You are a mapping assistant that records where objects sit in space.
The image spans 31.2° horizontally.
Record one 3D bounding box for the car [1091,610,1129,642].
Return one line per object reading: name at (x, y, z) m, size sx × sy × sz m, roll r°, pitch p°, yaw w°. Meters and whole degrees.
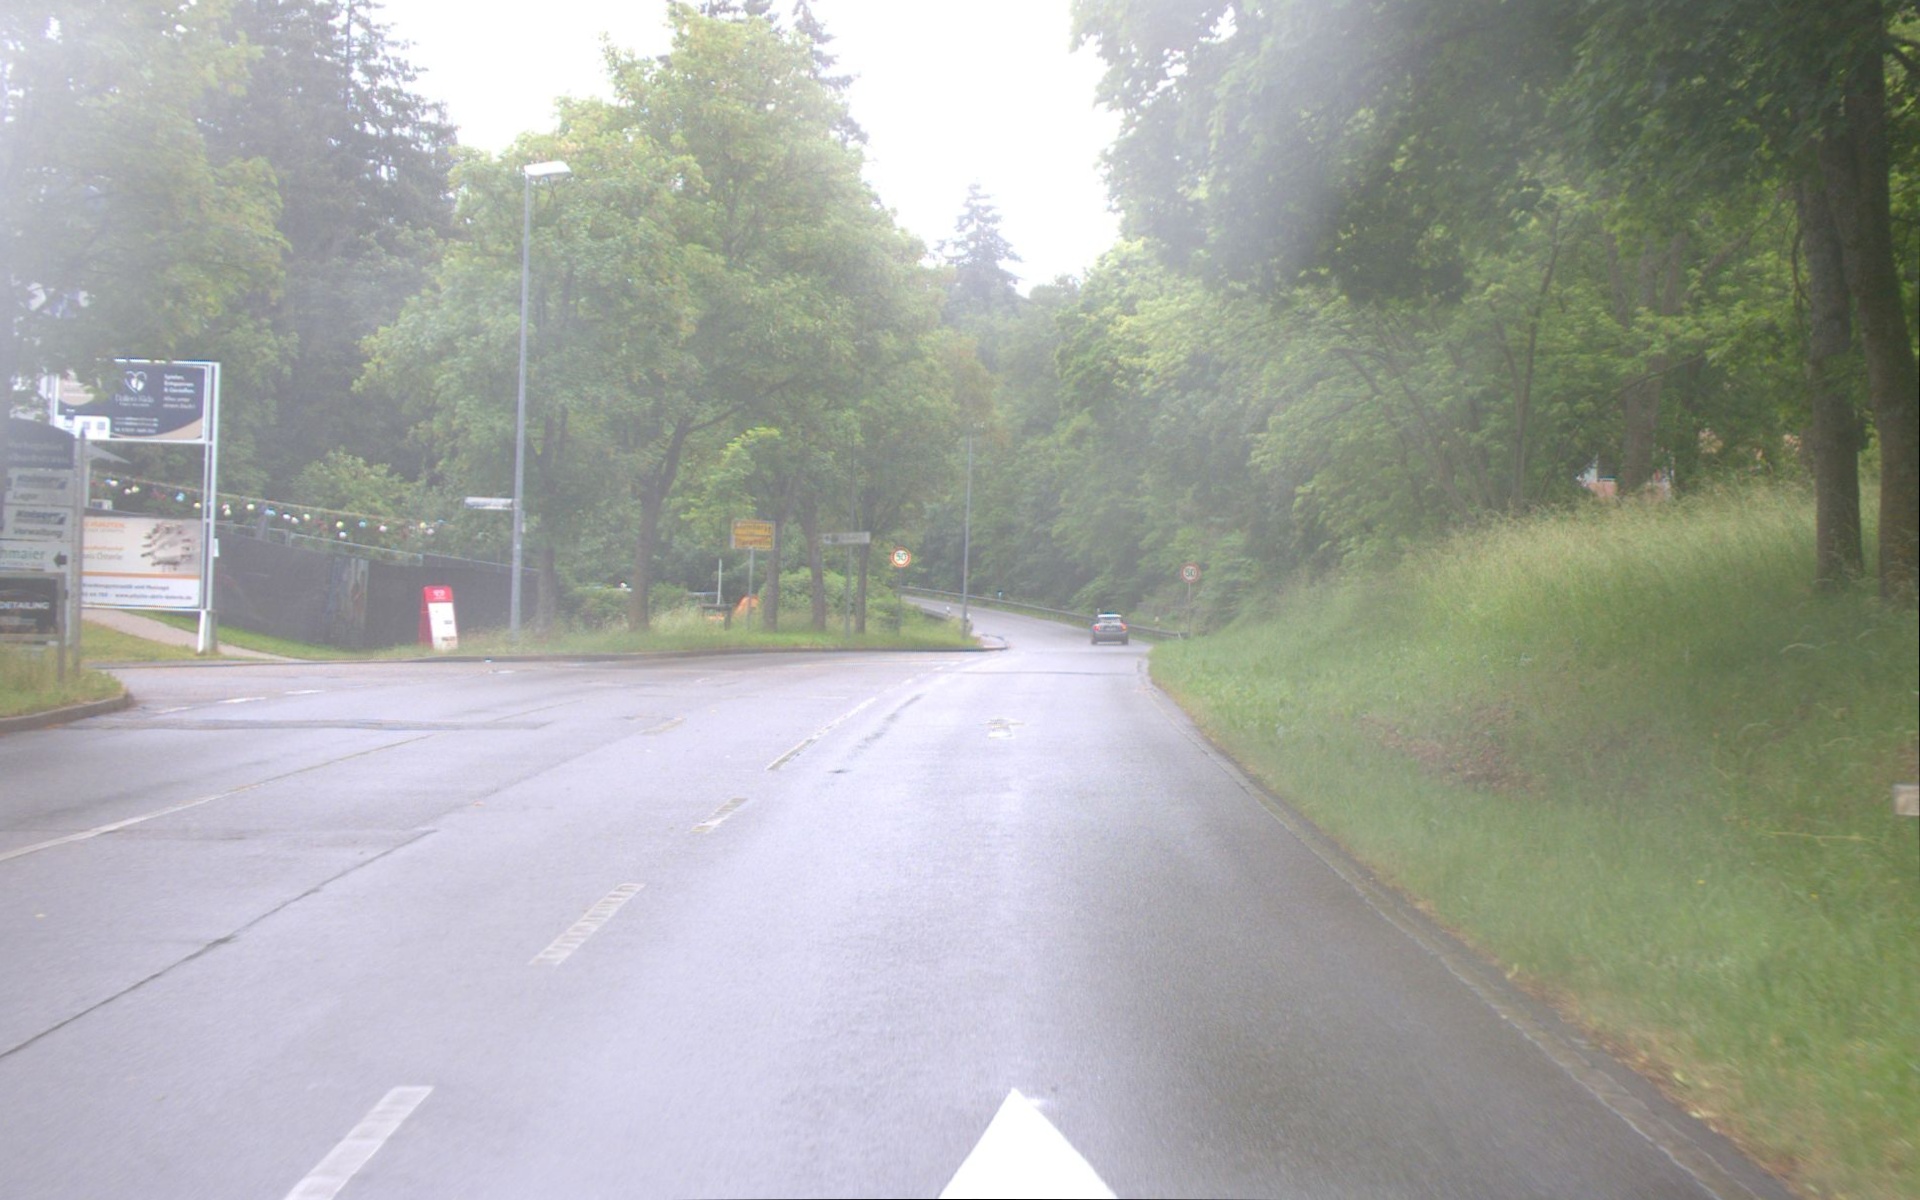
car at (7.242, 1.254, 166.595) m, size 1.736 × 1.505 × 4.000 m, roll -1°, pitch 0°, yaw 1°
